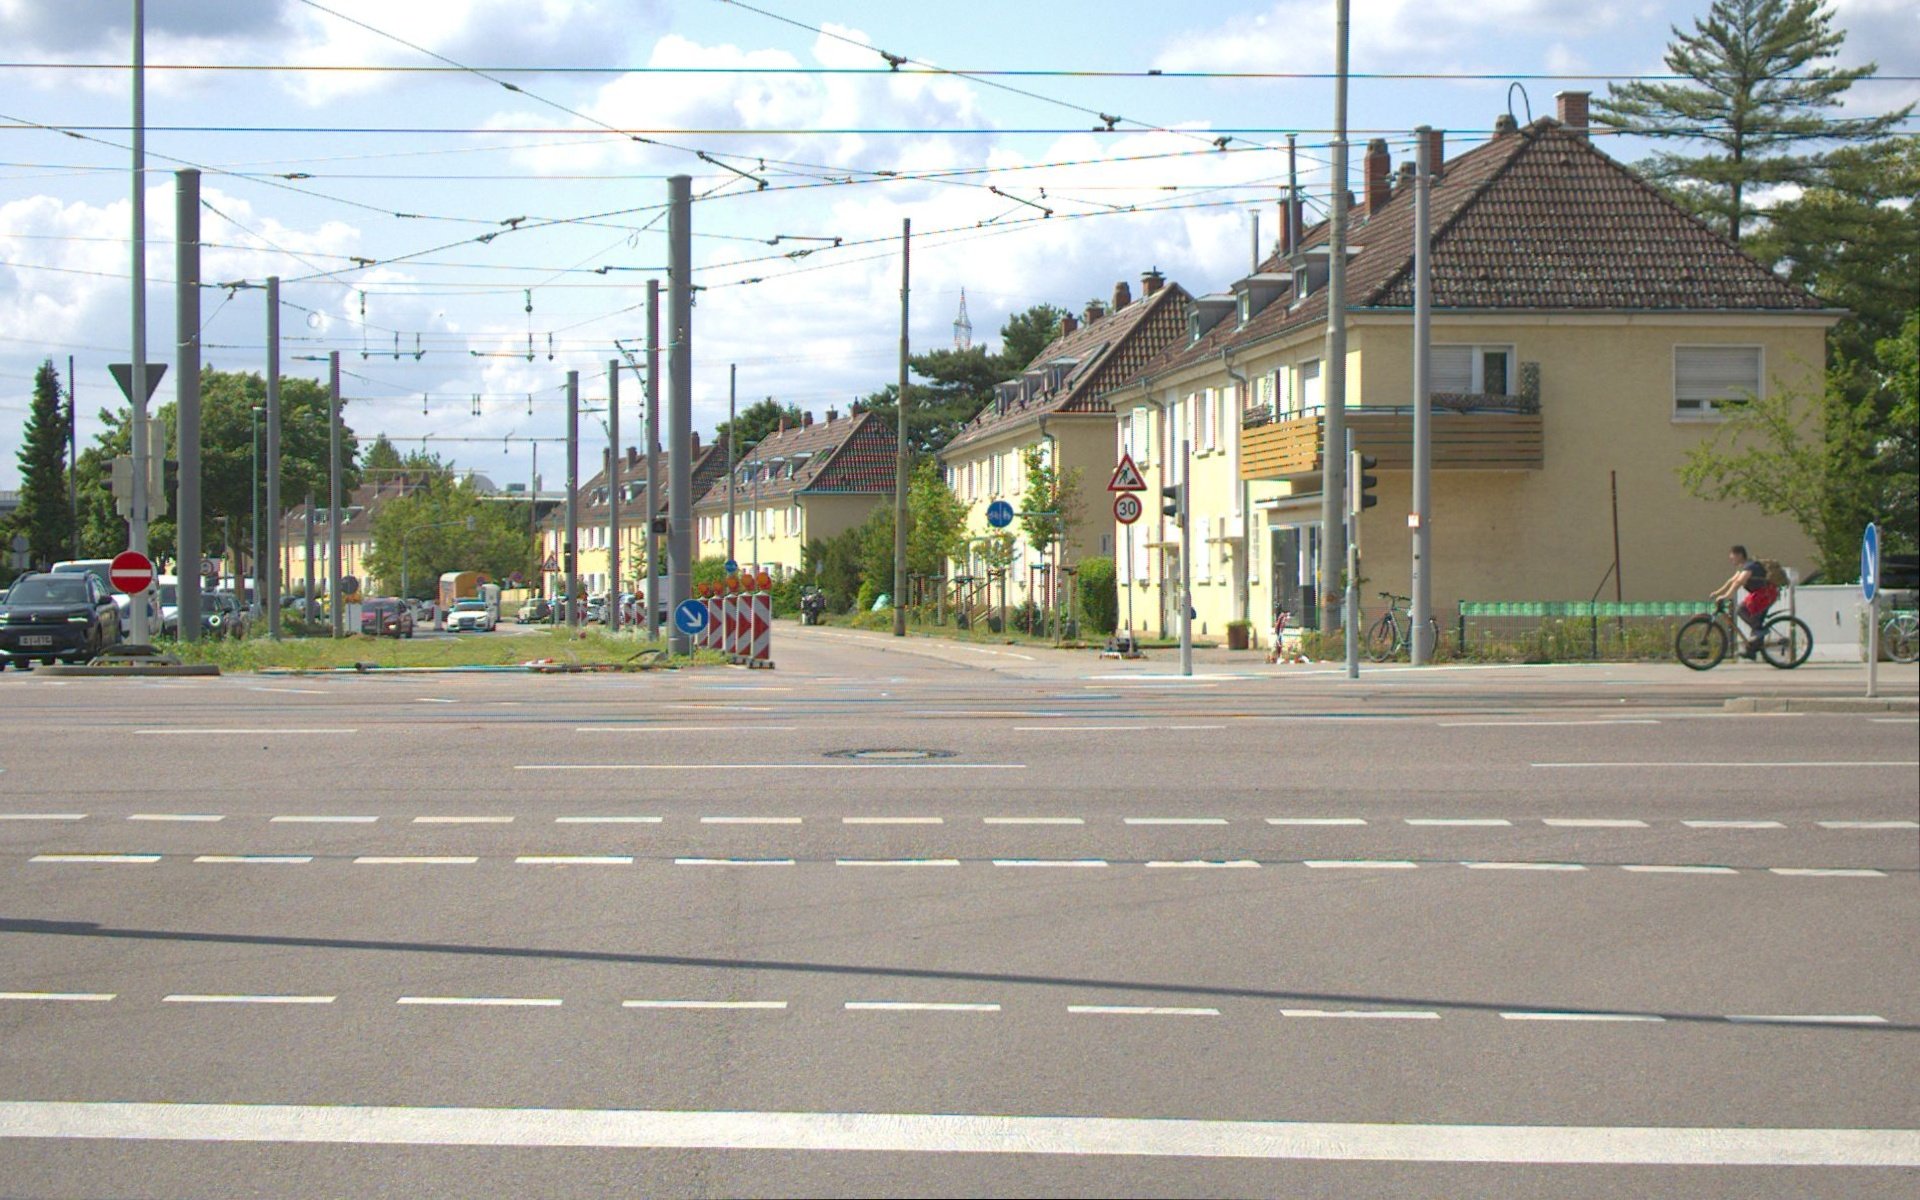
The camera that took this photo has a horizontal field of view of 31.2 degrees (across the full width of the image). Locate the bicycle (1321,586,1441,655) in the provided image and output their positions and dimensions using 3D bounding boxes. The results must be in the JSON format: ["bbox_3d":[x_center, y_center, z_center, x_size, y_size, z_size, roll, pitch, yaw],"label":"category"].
[{"bbox_3d":[6.799,0.323,55.634,0.593,1.093,2.276,0,0,-33],"label":"bicycle"}]

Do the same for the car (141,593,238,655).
[{"bbox_3d":[-18.075,0.542,80.785,1.914,1.414,4.001,0,0,-8],"label":"car"}]

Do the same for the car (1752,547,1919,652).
[{"bbox_3d":[14.425,0.013,55.386,1.821,1.615,4.001,0,-1,-10],"label":"car"}]

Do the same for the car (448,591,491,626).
[{"bbox_3d":[-22.231,0.368,155.811,1.843,1.556,4.188,0,0,-7],"label":"car"}]

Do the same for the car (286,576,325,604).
[{"bbox_3d":[-46.345,-0.696,243.463,1.993,1.904,4.001,-1,1,-22],"label":"car"}]

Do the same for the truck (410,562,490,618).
[{"bbox_3d":[-32.312,-0.618,217.522,2.640,3.482,9.439,0,0,-24],"label":"truck"}]

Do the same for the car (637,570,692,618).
[{"bbox_3d":[-13.553,-0.282,157.266,2.065,2.142,4.879,0,0,-10],"label":"car"}]

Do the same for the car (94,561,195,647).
[{"bbox_3d":[-17.481,0.077,73.836,1.732,1.776,4.406,-1,0,-9],"label":"car"}]

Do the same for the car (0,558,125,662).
[{"bbox_3d":[-15.644,0.138,59.549,1.786,1.715,4.442,0,1,-7],"label":"car"}]

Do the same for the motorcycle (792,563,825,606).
[{"bbox_3d":[-5.825,-0.603,132.044,1.066,1.630,2.084,0,0,-8],"label":"motorcycle"}]

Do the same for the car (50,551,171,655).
[{"bbox_3d":[-16.254,0.049,65.965,1.814,1.915,4.749,0,0,-9],"label":"car"}]

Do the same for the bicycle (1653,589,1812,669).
[{"bbox_3d":[10.739,0.404,47.811,2.026,1.098,0.715,0,0,-5],"label":"bicycle"}]

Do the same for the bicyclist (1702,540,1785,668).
[{"bbox_3d":[10.927,0.055,47.962,0.957,1.769,0.720,0,0,-5],"label":"bicyclist"}]

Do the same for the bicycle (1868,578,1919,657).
[{"bbox_3d":[13.795,0.243,48.458,1.806,1.101,0.701,0,0,39],"label":"bicycle"}]

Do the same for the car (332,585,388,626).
[{"bbox_3d":[-22.446,0.200,128.774,1.843,1.489,4.857,0,0,-7],"label":"car"}]
